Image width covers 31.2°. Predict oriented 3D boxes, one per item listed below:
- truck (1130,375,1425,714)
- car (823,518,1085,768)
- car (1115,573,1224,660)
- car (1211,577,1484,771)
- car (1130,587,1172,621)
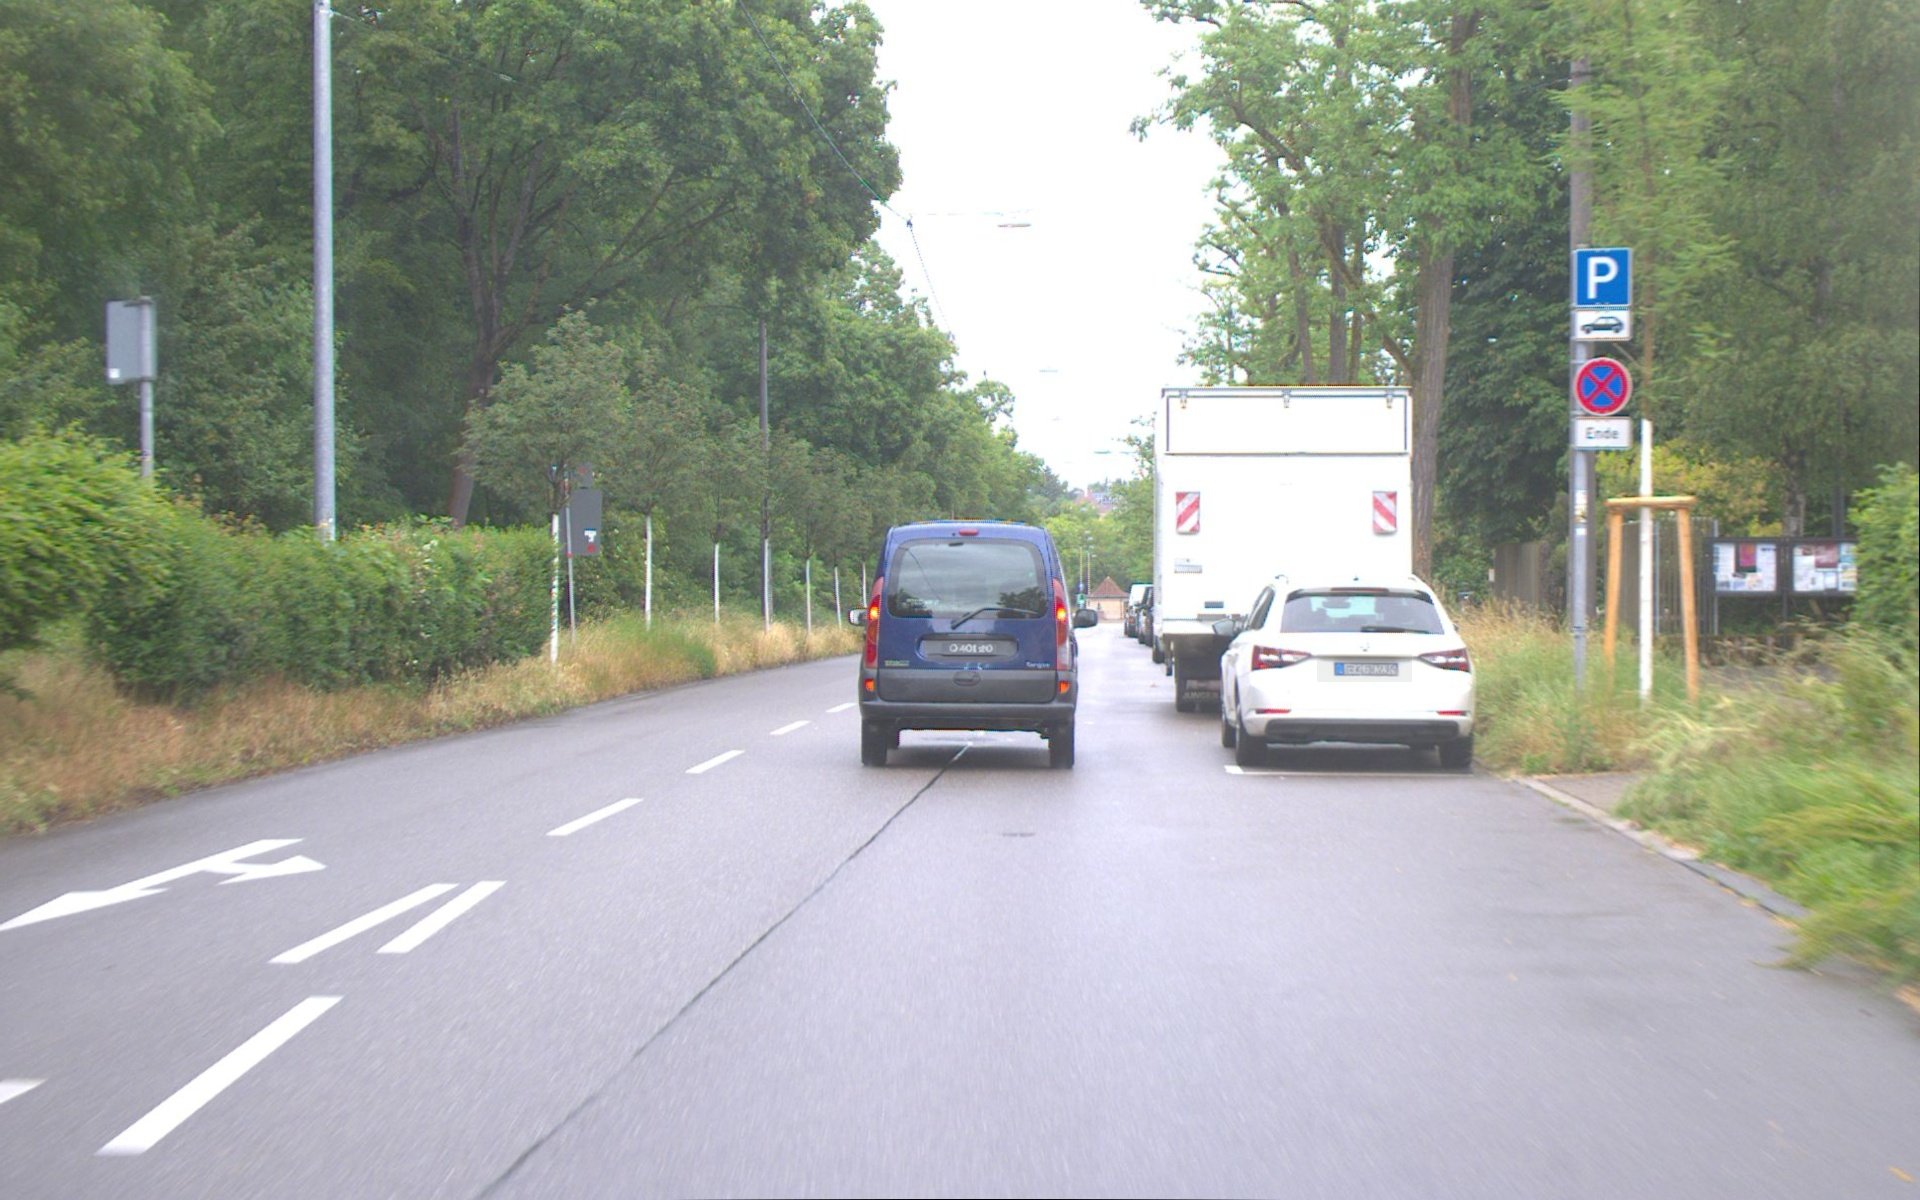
[{"bbox_3d":[3.383,-0.600,38.144,2.731,3.375,6.685,-1,1,1],"label":"truck"},{"bbox_3d":[-0.121,0.291,26.991,1.808,1.791,4.001,-1,1,-3],"label":"car"},{"bbox_3d":[4.018,0.299,66.478,1.994,1.579,4.000,-1,1,3],"label":"car"},{"bbox_3d":[3.005,0.531,27.412,1.813,1.376,4.285,-1,1,2],"label":"car"},{"bbox_3d":[9.253,0.191,166.745,1.994,1.579,4.000,-1,1,3],"label":"car"}]
